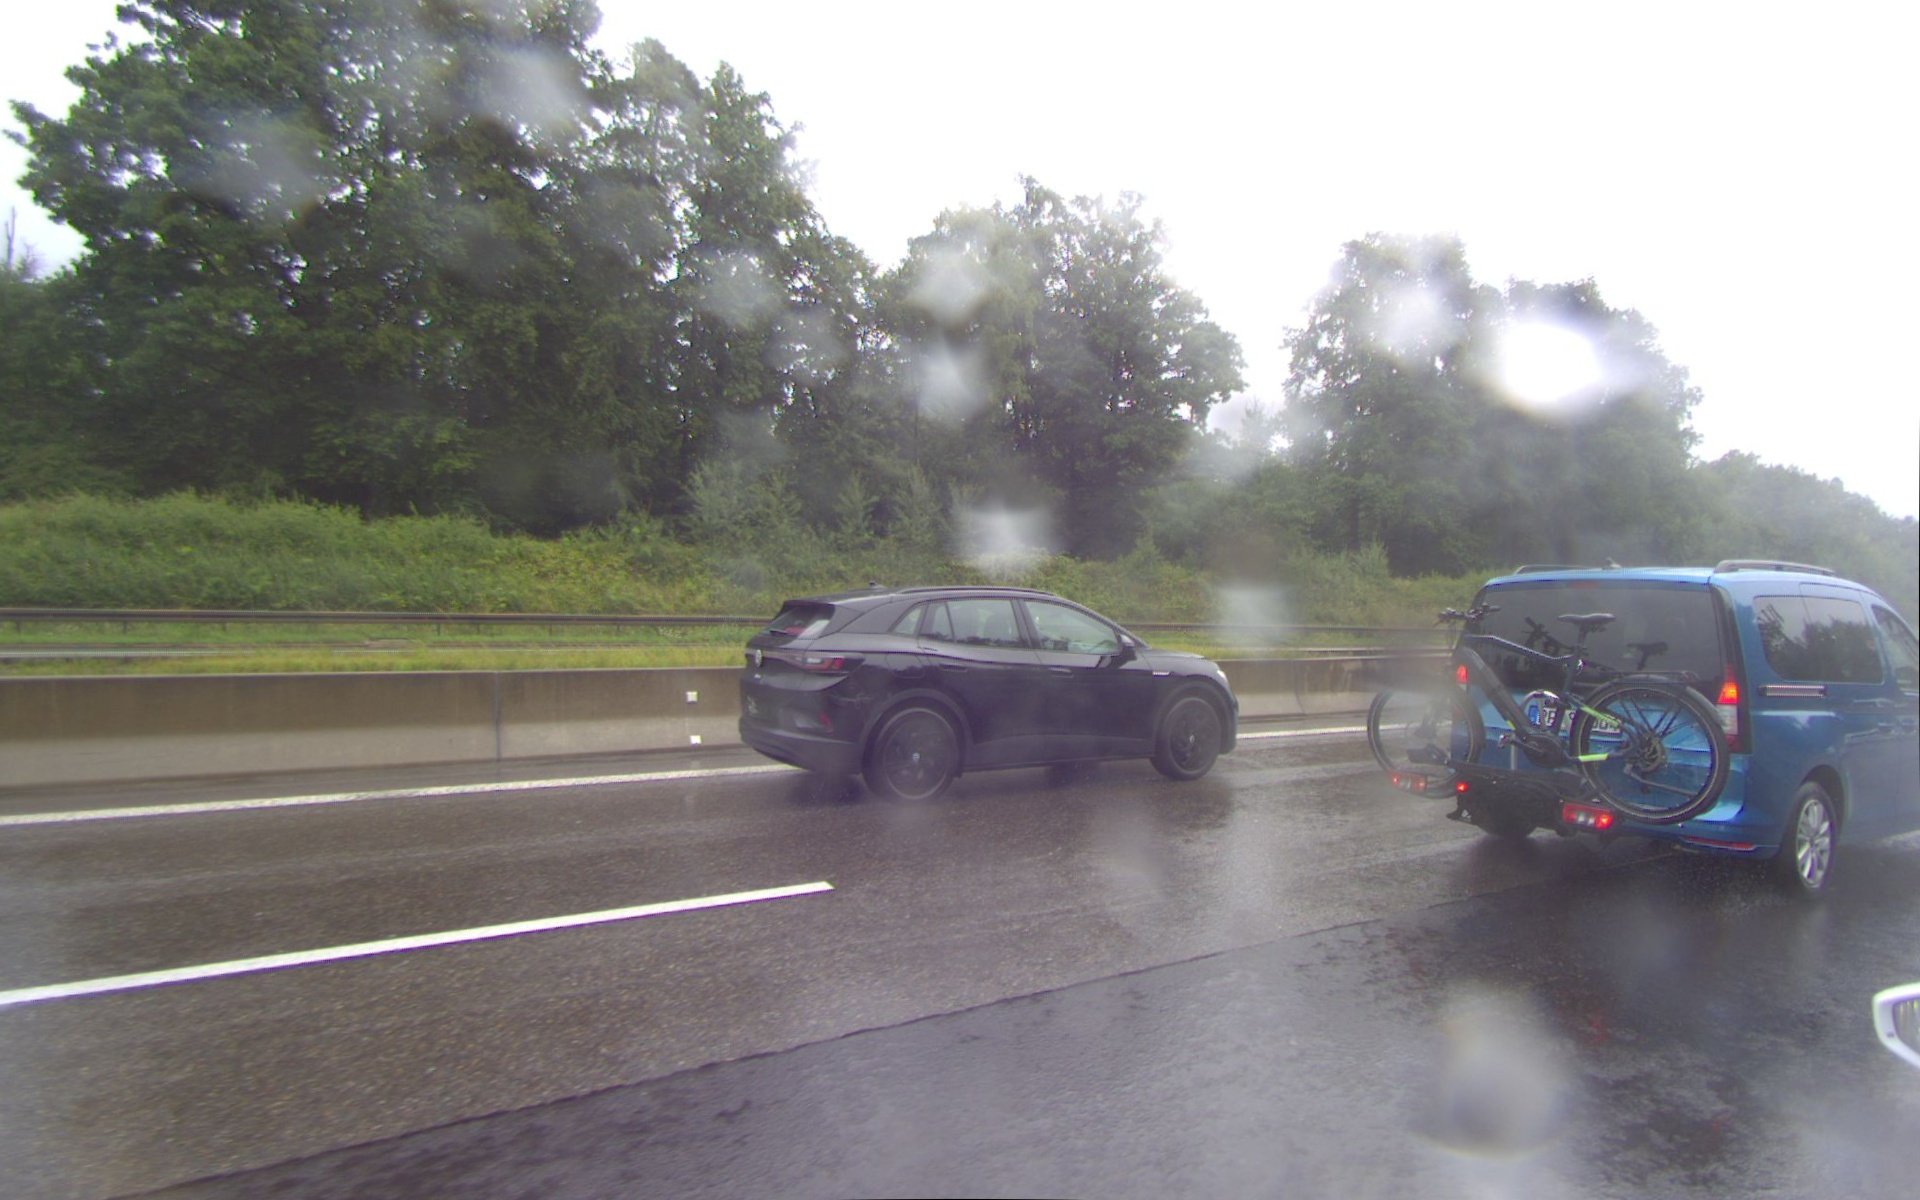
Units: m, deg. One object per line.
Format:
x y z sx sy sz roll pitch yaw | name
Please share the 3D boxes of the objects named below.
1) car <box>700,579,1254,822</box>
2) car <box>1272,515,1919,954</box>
0.234 0.699 8.569 4.414 1.613 1.837 1 0 -30 | car
4.705 0.634 6.648 4.955 1.937 2.259 1 0 -29 | car
